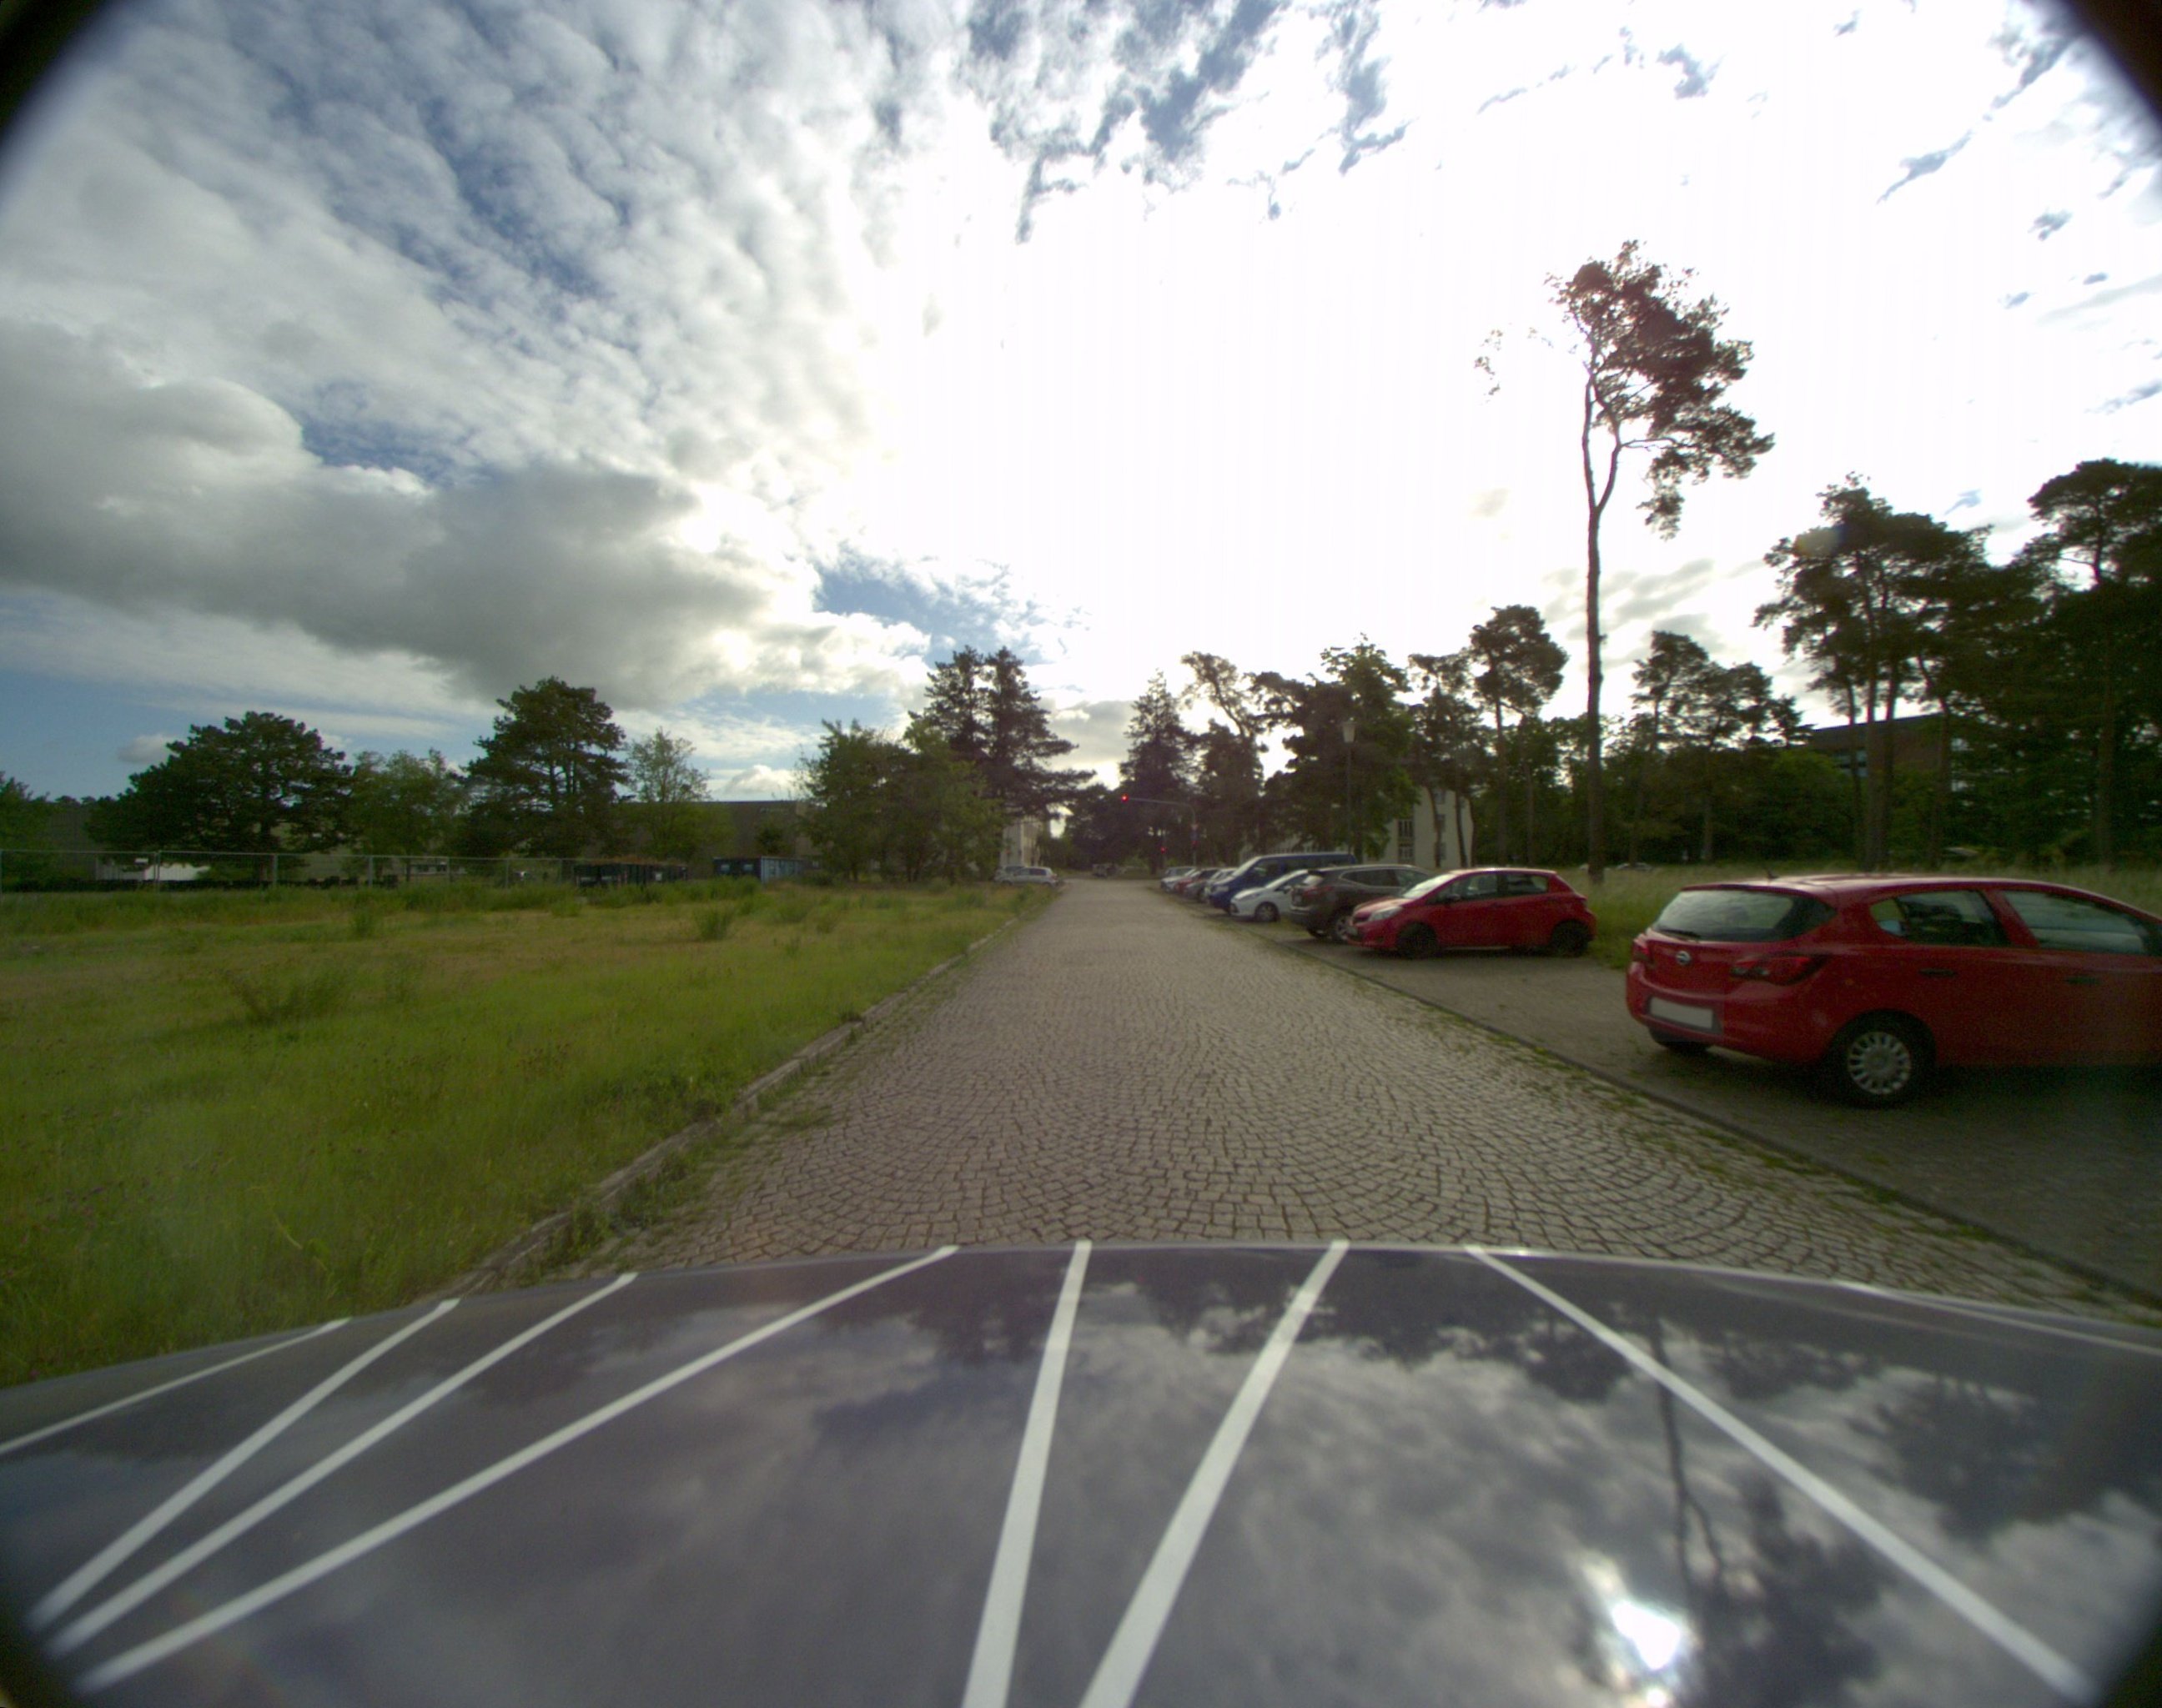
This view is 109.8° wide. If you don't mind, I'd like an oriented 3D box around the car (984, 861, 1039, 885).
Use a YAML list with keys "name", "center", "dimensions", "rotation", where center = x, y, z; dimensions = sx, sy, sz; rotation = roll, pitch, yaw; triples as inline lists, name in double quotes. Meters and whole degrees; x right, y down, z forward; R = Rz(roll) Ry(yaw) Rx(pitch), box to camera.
- name: "car"
  center: [-4.865, 1.308, 53.139]
  dimensions: [3.731, 1.429, 1.625]
  rotation: [-3, 0, -7]

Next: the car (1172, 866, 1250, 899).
- name: "car"
  center: [6.569, 1.416, 38.574]
  dimensions: [3.572, 1.408, 1.637]
  rotation: [-3, 0, -6]

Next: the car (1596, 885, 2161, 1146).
- name: "car"
  center: [6.260, 1.028, 5.496]
  dimensions: [3.893, 1.470, 1.672]
  rotation: [-1, -1, 0]

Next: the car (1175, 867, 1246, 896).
- name: "car"
  center: [6.990, 1.478, 41.221]
  dimensions: [3.649, 1.340, 1.621]
  rotation: [-3, 0, 5]

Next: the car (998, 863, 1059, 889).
- name: "car"
  center: [-3.273, 1.369, 47.770]
  dimensions: [3.730, 1.429, 1.626]
  rotation: [-2, 0, -3]

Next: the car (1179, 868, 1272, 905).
- name: "car"
  center: [6.242, 1.387, 33.022]
  dimensions: [3.600, 1.412, 1.617]
  rotation: [-2, 0, -6]

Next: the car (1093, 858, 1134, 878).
- name: "car"
  center: [4.858, 2.120, 115.541]
  dimensions: [5.797, 2.547, 2.769]
  rotation: [-3, 0, -4]

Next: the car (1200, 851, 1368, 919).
- name: "car"
  center: [6.522, 0.953, 24.815]
  dimensions: [4.833, 1.855, 2.161]
  rotation: [-3, 0, -1]

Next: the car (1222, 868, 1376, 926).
- name: "car"
  center: [6.280, 1.227, 22.191]
  dimensions: [3.930, 1.385, 1.743]
  rotation: [-3, 0, -1]

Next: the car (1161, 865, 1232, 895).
- name: "car"
  center: [6.540, 1.465, 43.189]
  dimensions: [3.573, 1.479, 1.602]
  rotation: [-3, 0, -7]

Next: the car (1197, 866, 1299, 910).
- name: "car"
  center: [6.633, 1.330, 30.390]
  dimensions: [3.600, 1.445, 1.687]
  rotation: [-3, 0, -6]

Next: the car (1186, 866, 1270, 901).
- name: "car"
  center: [6.929, 1.368, 35.989]
  dimensions: [3.572, 1.426, 1.606]
  rotation: [-3, 0, -6]

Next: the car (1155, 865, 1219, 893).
- name: "car"
  center: [6.377, 1.498, 45.942]
  dimensions: [3.571, 1.450, 1.626]
  rotation: [-3, 0, -1]

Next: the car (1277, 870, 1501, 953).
- name: "car"
  center: [6.273, 1.142, 15.793]
  dimensions: [3.916, 1.594, 1.821]
  rotation: [0, -1, -2]

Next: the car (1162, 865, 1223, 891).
- name: "car"
  center: [7.094, 1.504, 48.546]
  dimensions: [3.455, 1.423, 1.627]
  rotation: [-3, 0, -9]

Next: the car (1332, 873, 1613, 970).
- name: "car"
  center: [6.594, 1.117, 13.121]
  dimensions: [3.950, 1.511, 1.708]
  rotation: [-1, -1, 1]
